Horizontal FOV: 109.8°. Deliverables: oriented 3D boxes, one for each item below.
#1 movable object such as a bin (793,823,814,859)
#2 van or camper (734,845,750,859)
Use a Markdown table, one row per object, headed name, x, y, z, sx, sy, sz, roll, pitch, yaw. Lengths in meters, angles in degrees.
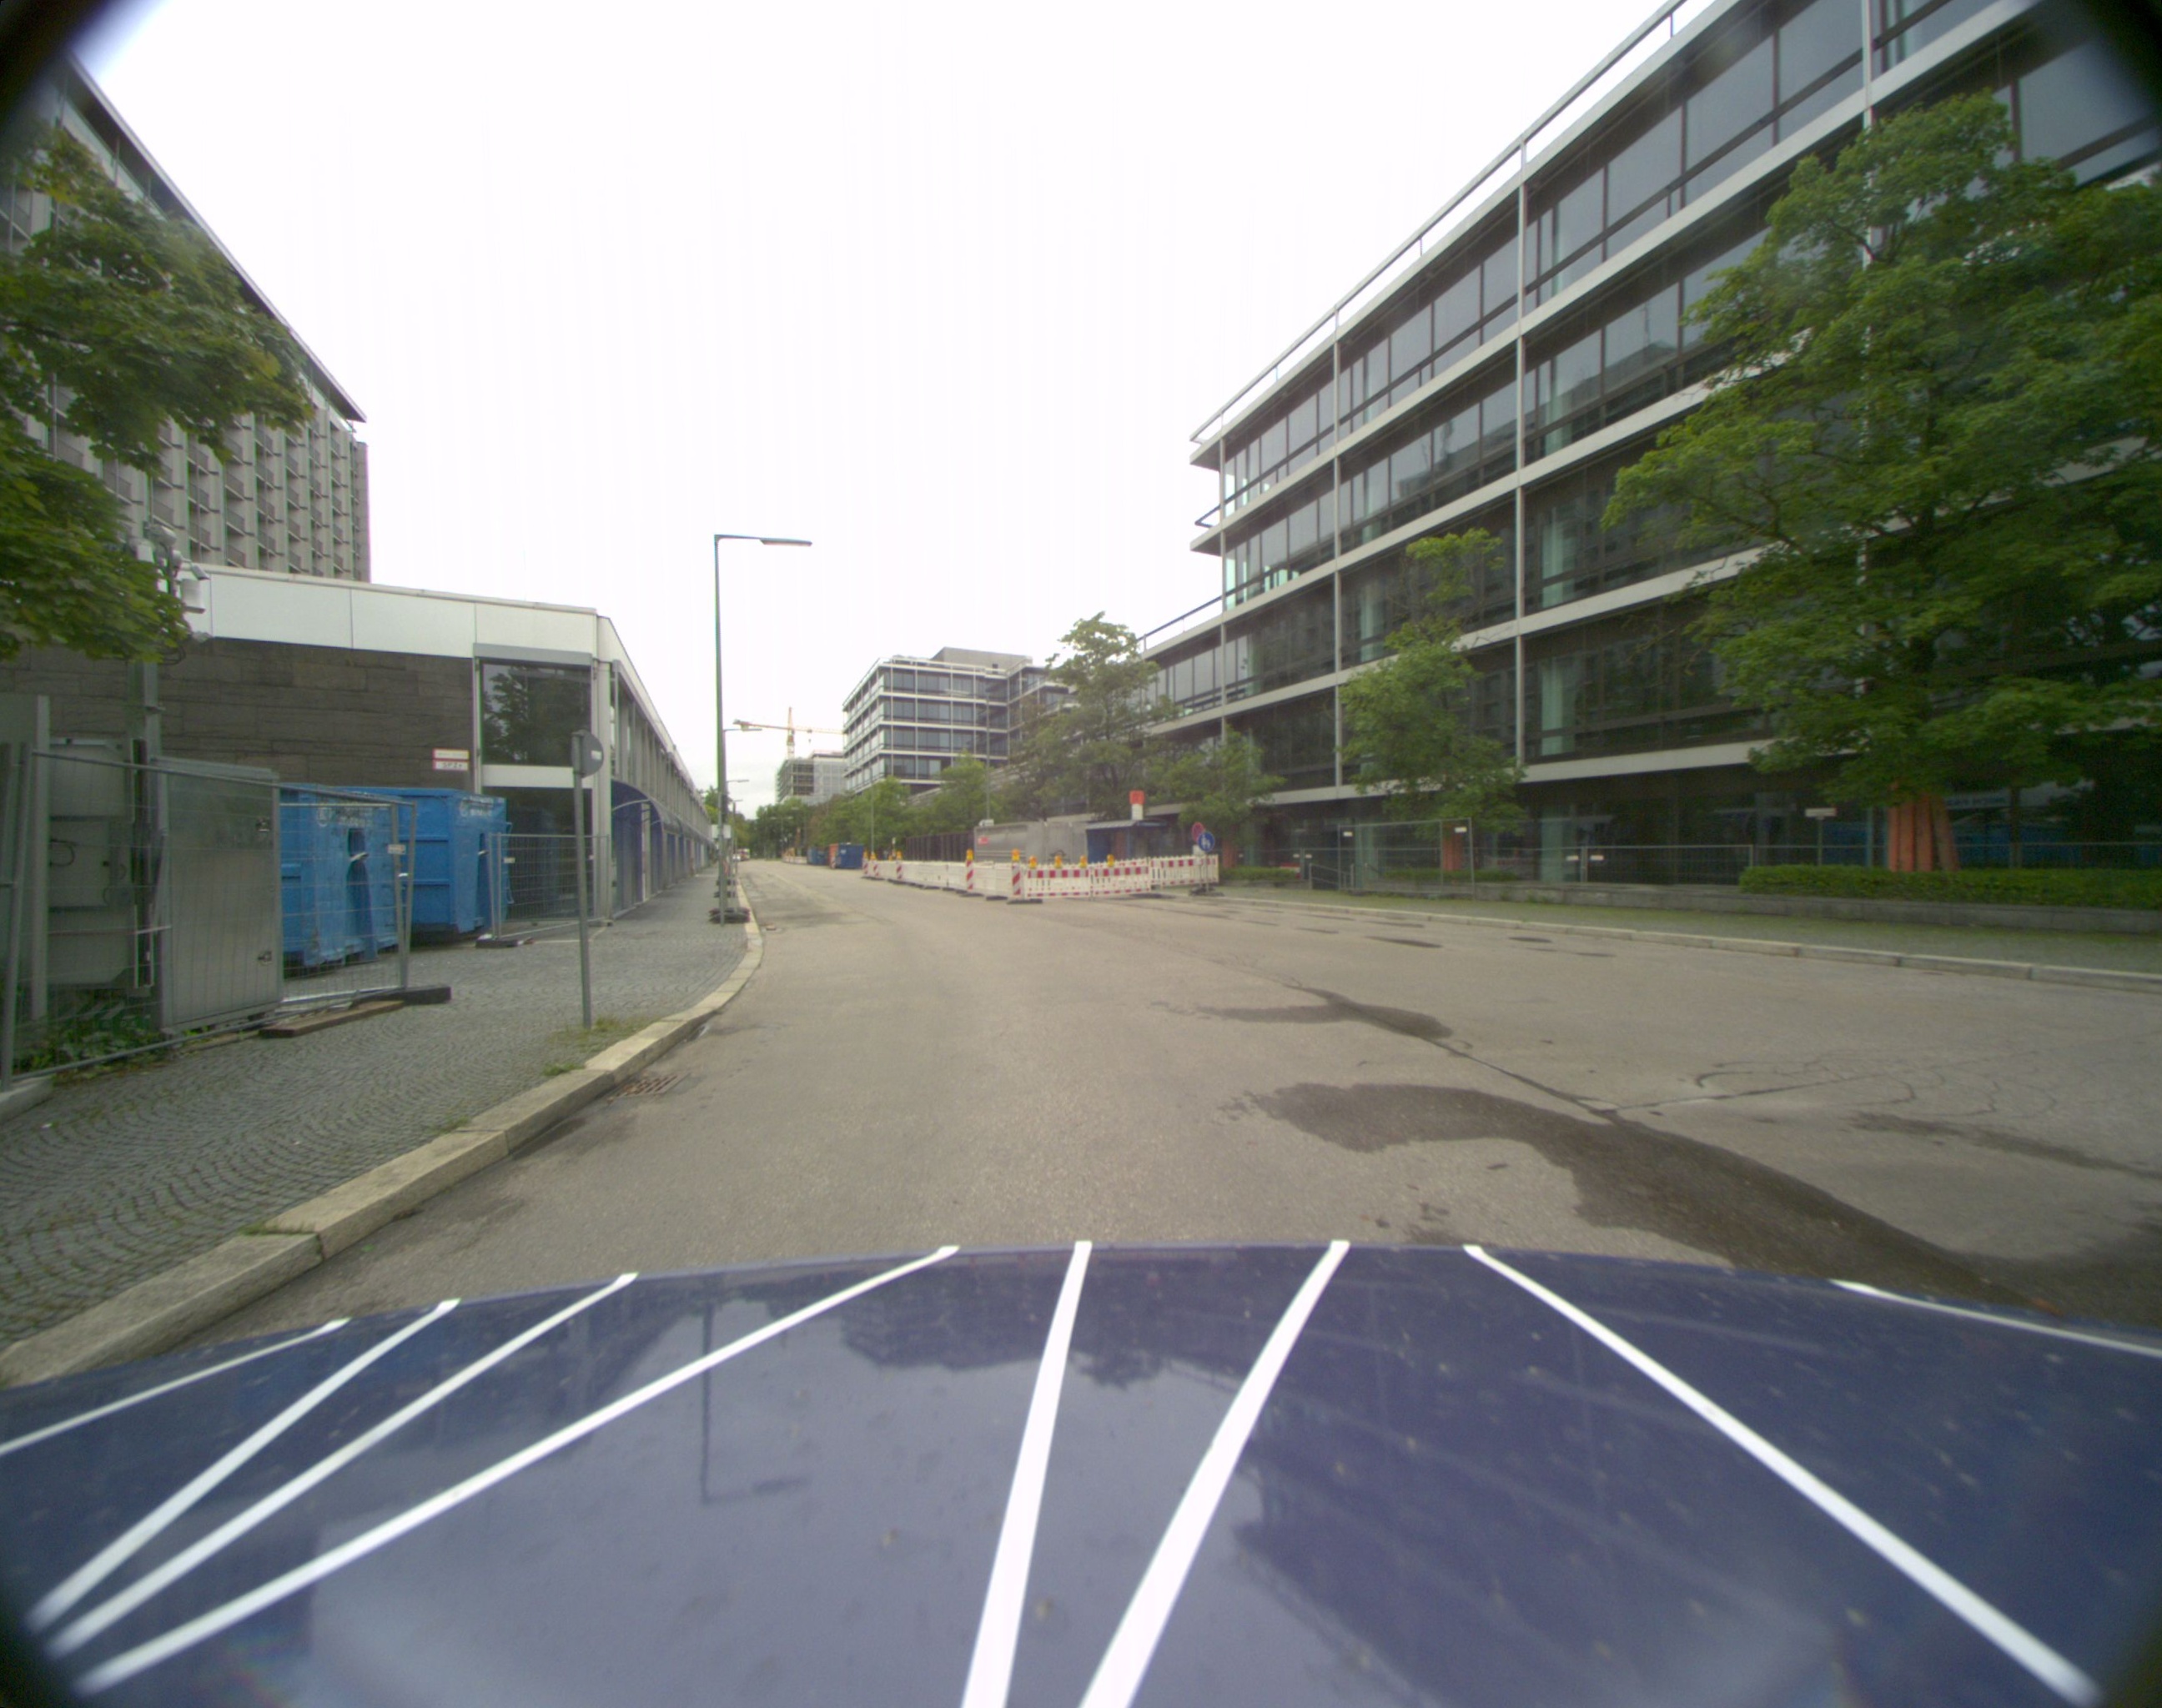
| name | x | y | z | sx | sy | sz | roll | pitch | yaw |
| --- | --- | --- | --- | --- | --- | --- | --- | --- | --- |
| movable object such as a bin | -50.284 | -2.307 | 137.620 | 3.248 | 6.286 | 8.319 | -1 | 1 | -22 |
| van or camper | -72.637 | -0.425 | 162.809 | 2.672 | 2.751 | 6.901 | -1 | 1 | -21 |
